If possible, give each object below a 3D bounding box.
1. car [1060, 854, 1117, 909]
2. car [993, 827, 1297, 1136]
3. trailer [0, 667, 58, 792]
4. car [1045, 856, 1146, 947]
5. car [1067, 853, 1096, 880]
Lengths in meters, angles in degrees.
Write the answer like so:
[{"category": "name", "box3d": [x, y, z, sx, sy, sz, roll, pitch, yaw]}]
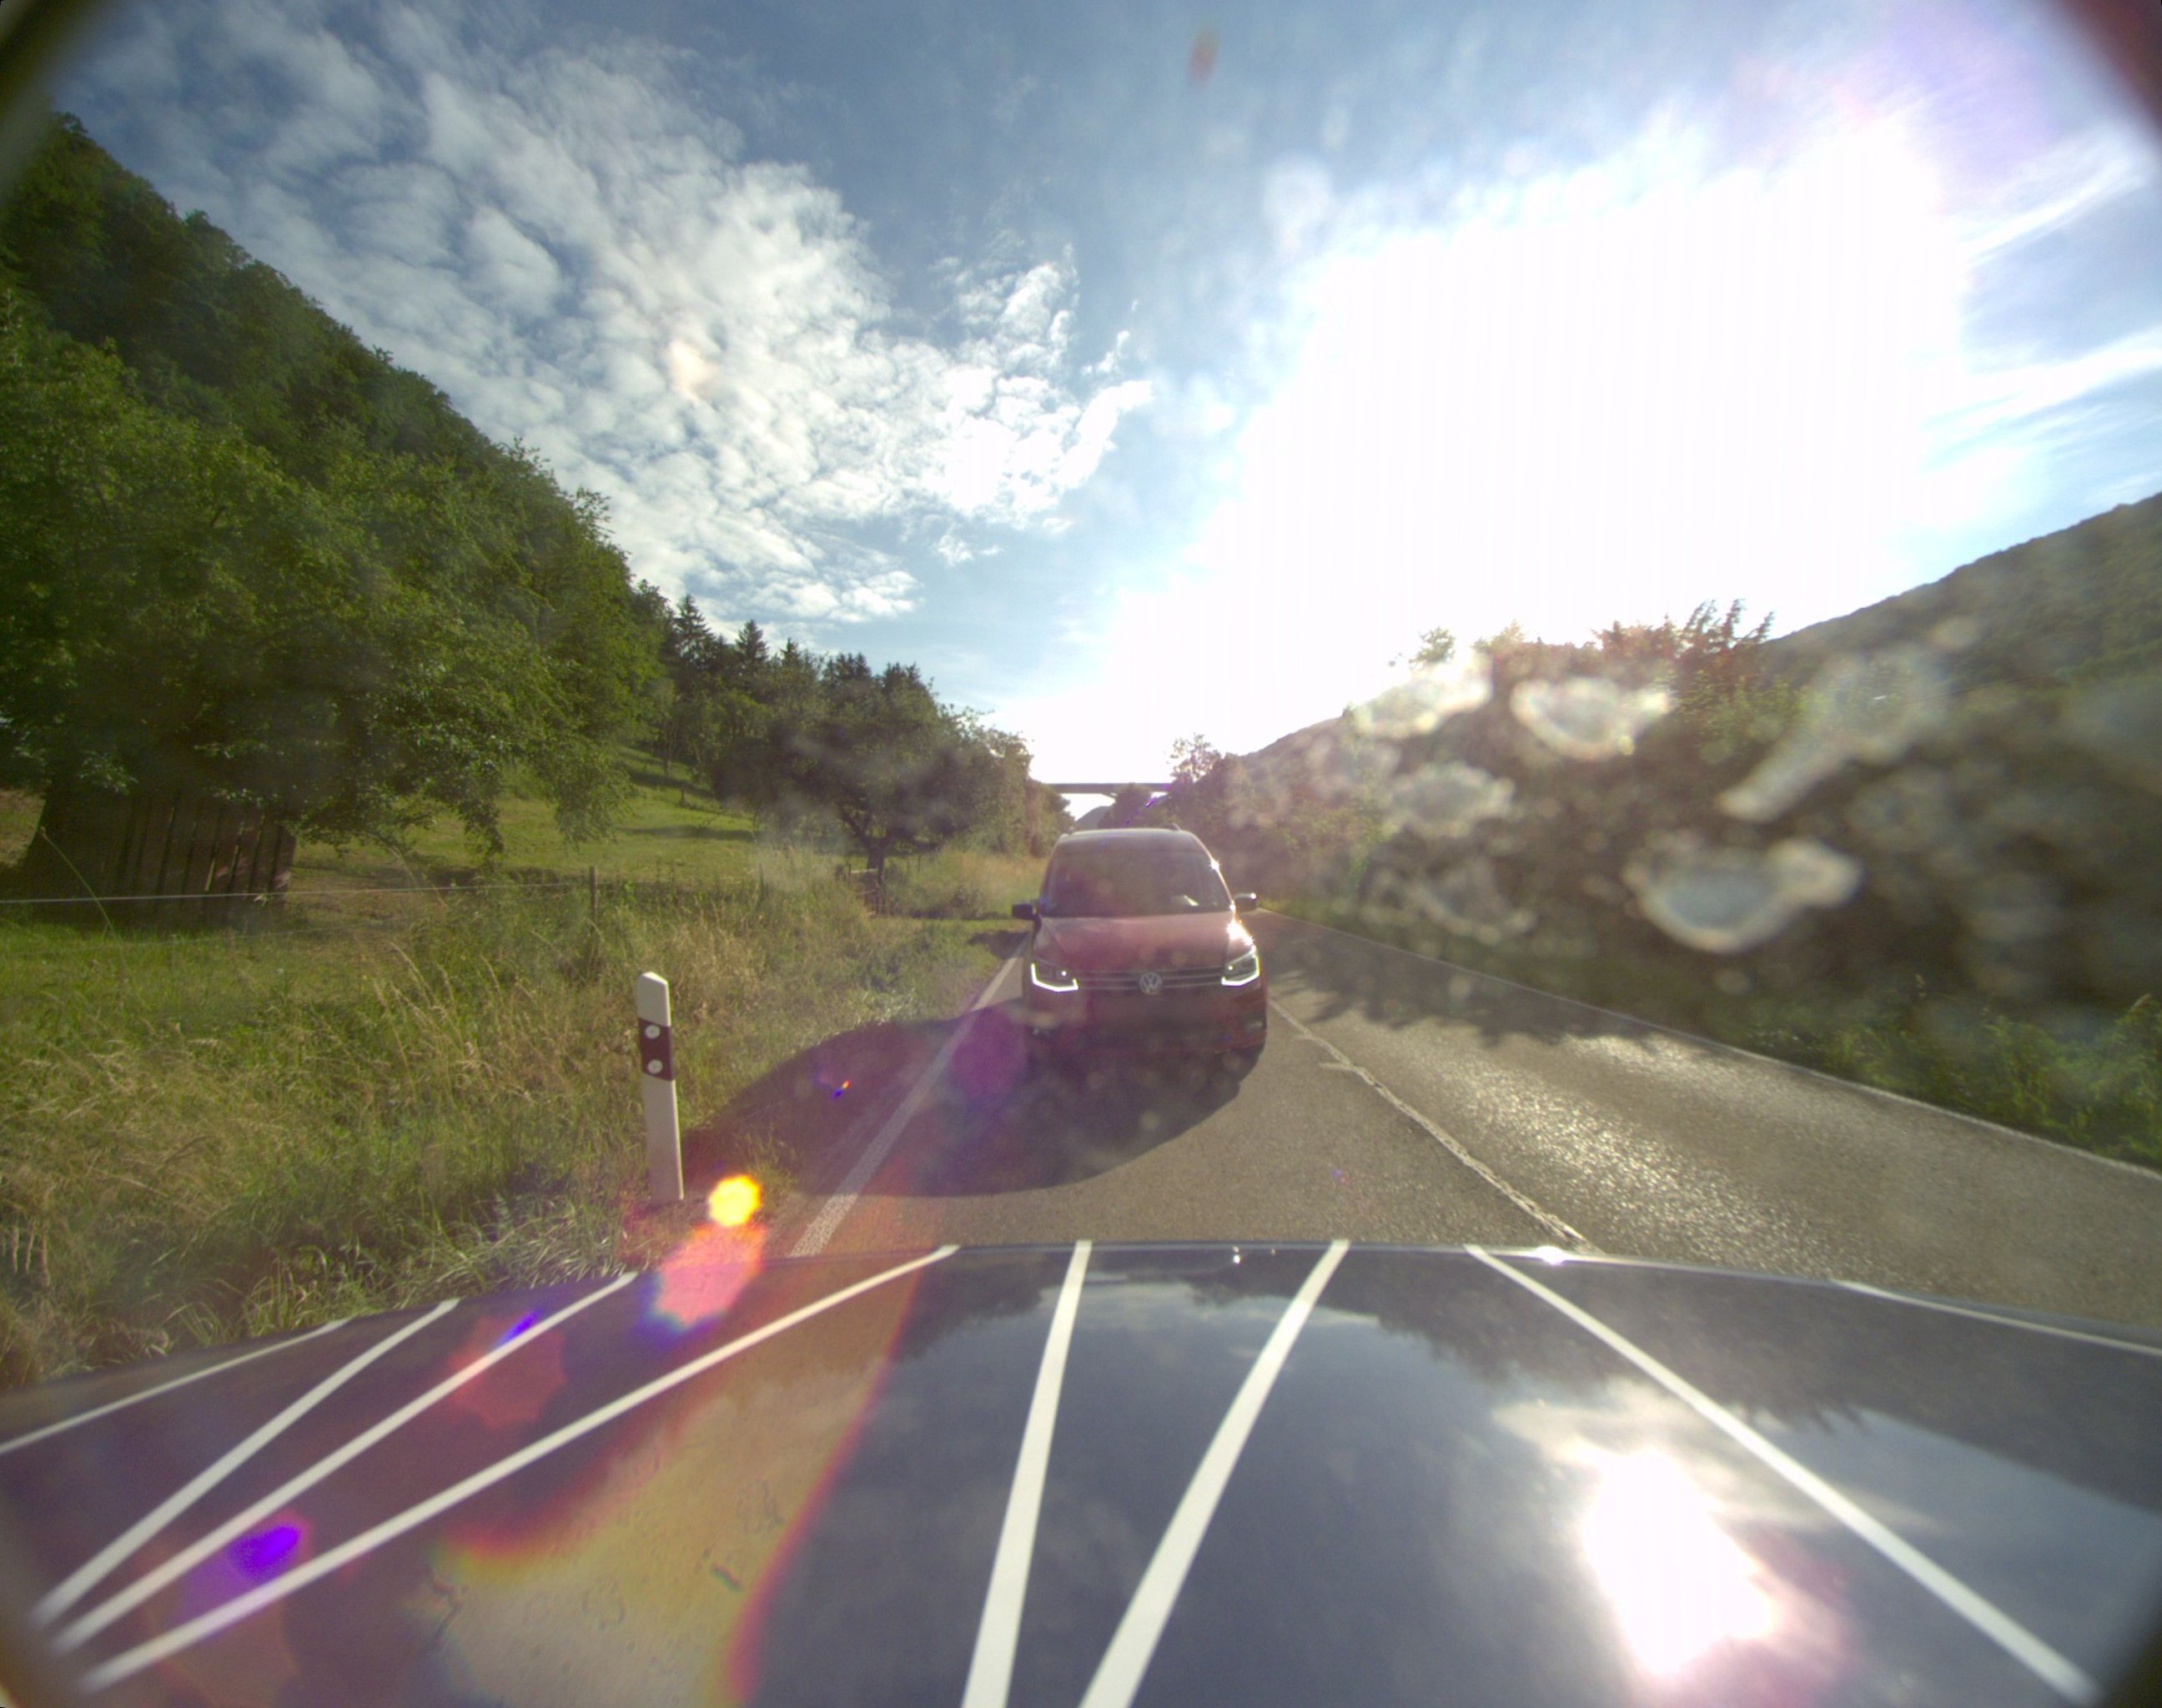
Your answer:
[{"category": "car", "box3d": [0.266, 0.884, 26.509, 1.753, 1.608, 4.288, -4, 0, 1]}, {"category": "car", "box3d": [0.419, 0.771, 6.795, 1.753, 1.799, 4.288, -4, 0, 1]}, {"category": "trailer", "box3d": [-23.837, -2.792, 14.272, 2.158, 2.542, 5.248, 1, -3, -3]}, {"category": "car", "box3d": [0.299, 0.873, 16.021, 1.753, 1.513, 4.288, -4, 0, 1]}, {"category": "car", "box3d": [0.044, 0.770, 50.730, 1.753, 1.608, 4.288, -4, 0, 1]}]
